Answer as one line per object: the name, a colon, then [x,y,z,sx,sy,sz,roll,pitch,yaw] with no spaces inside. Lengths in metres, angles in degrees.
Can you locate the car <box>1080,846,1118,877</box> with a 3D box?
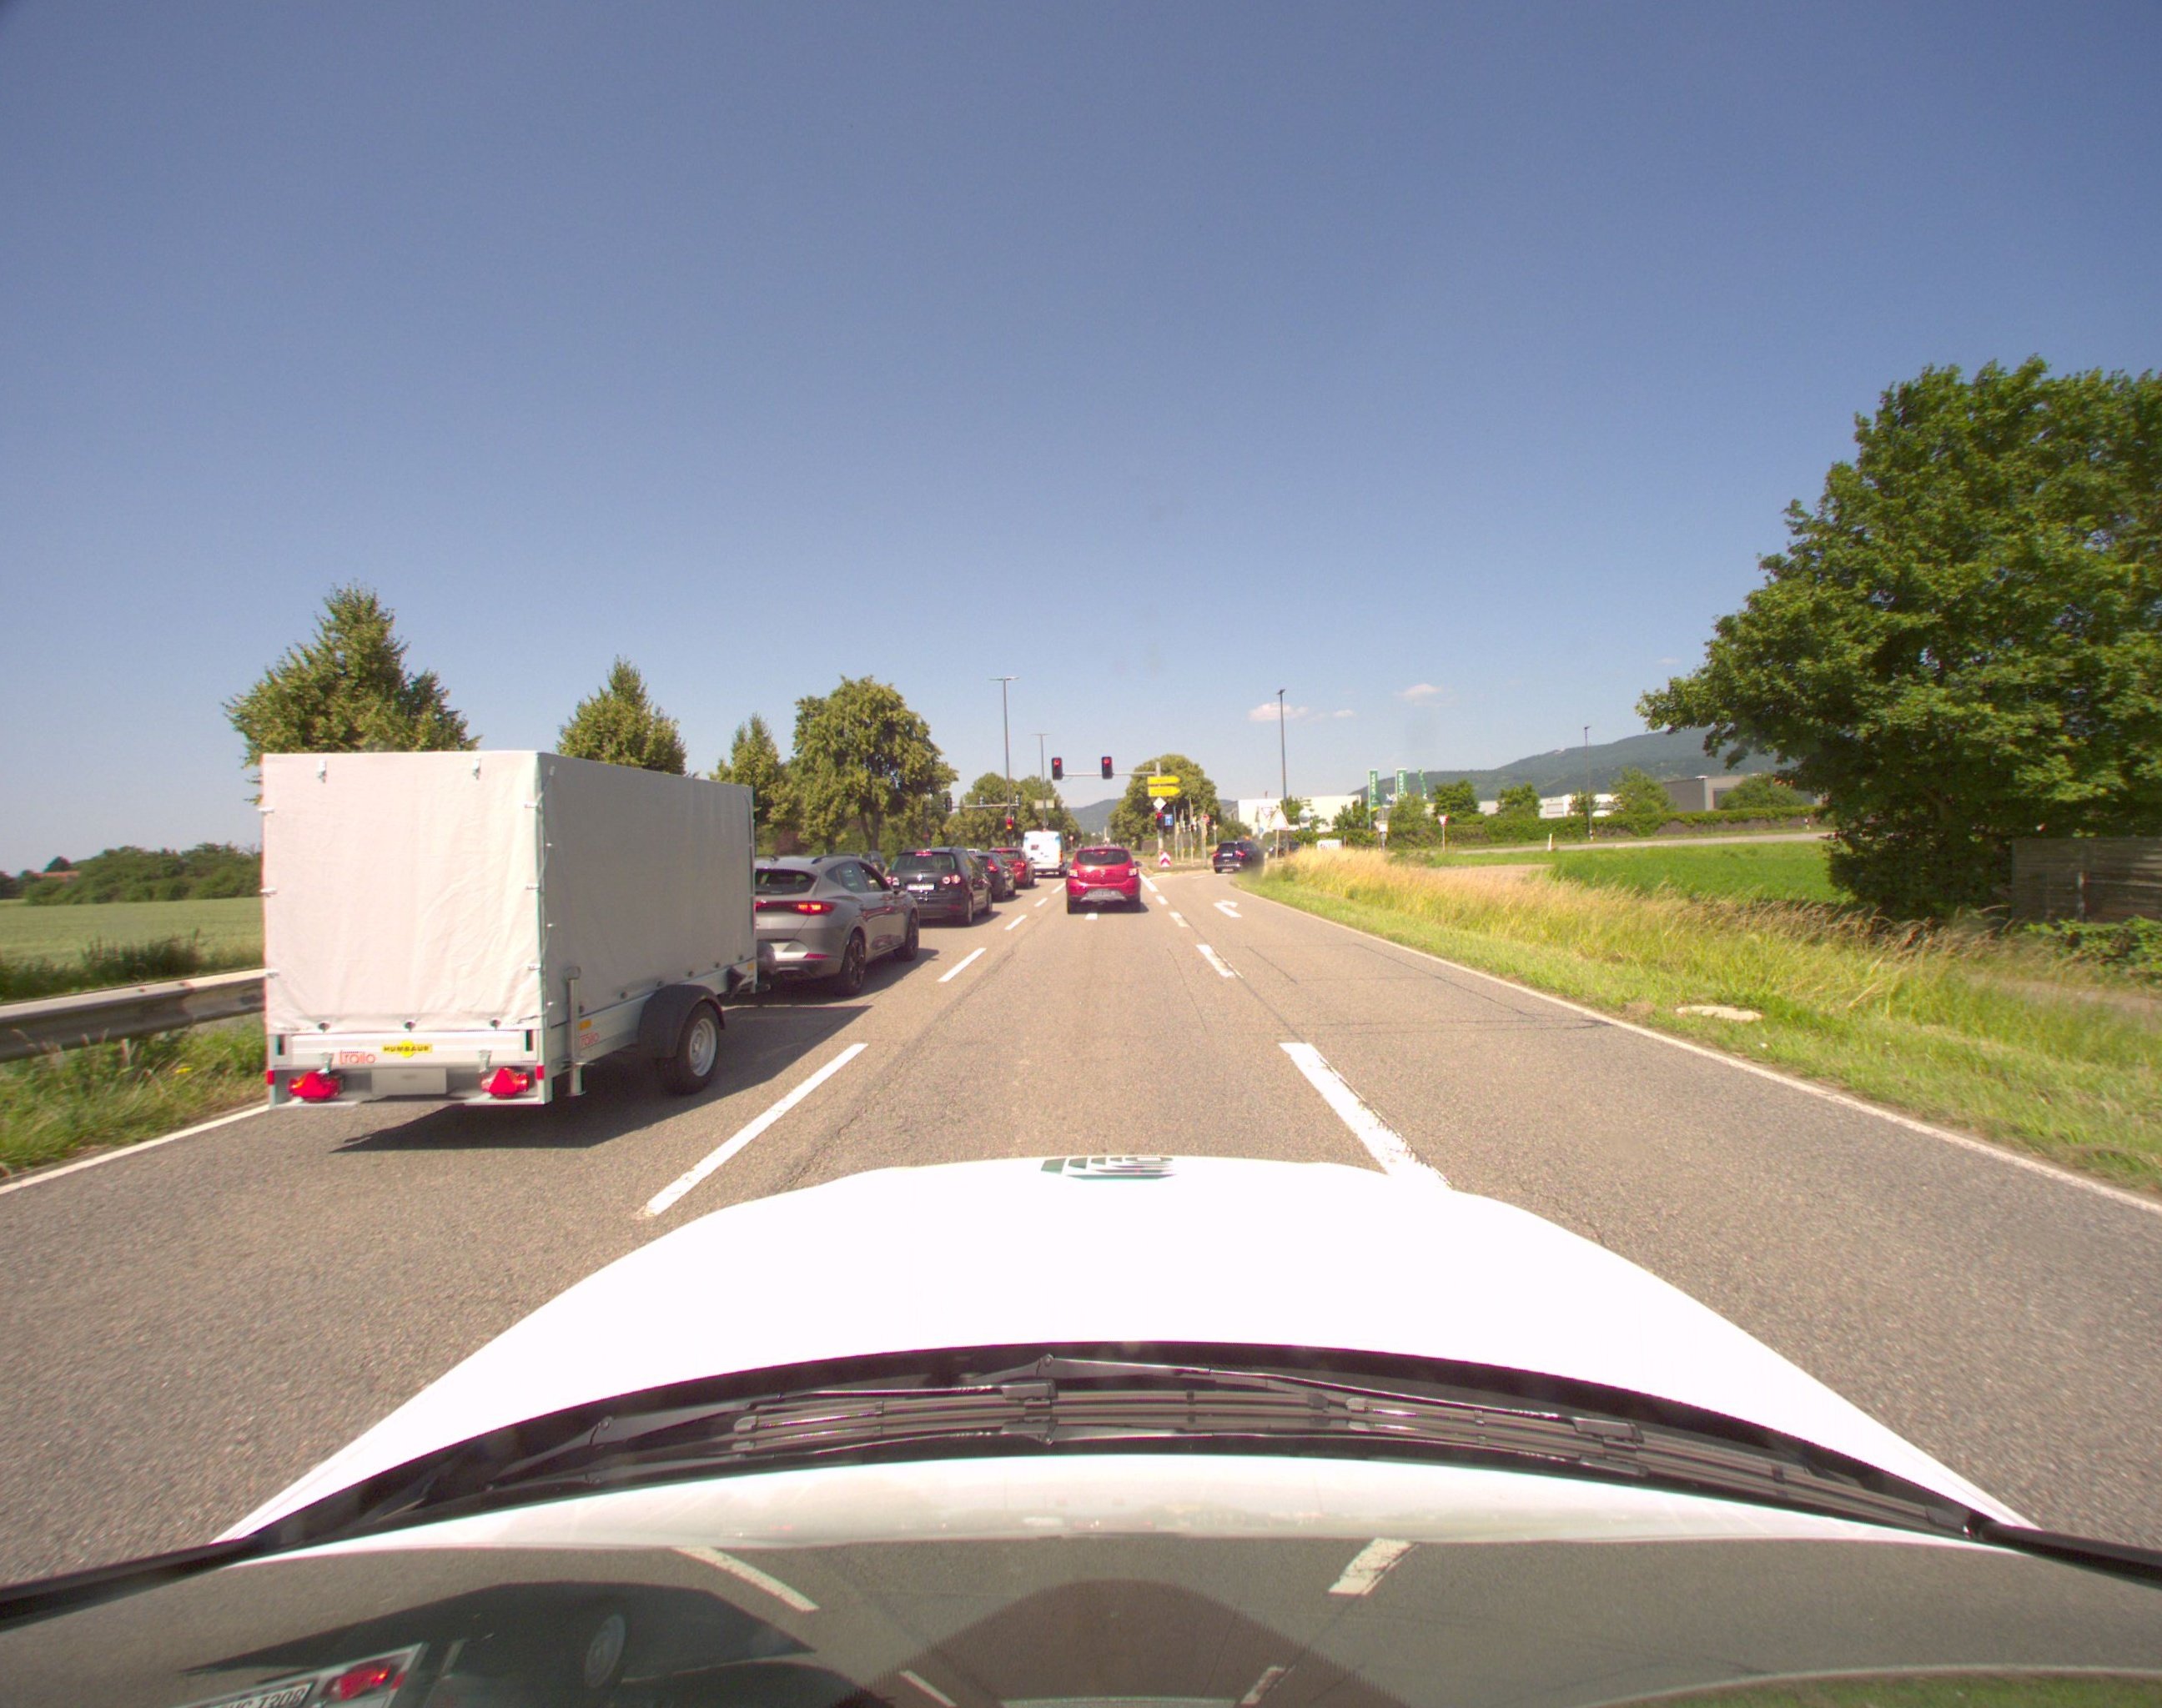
car: [0.969,0.361,41.566,1.742,1.458,3.680,-1,1,3]

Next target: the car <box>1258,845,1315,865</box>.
car: [15.316,0.049,60.810,3.964,1.327,1.811,-2,1,8]

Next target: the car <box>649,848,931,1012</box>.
car: [-3.192,0.720,10.003,1.739,1.503,4.365,-2,1,2]

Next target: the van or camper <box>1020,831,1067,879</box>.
van or camper: [-1.872,0.039,41.725,2.172,2.302,4.825,-1,0,0]

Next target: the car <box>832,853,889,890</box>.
car: [-12.461,0.957,46.300,1.851,1.855,4.697,-2,1,1]

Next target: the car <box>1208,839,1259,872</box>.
car: [8.016,0.050,42.591,1.977,1.616,4.360,-1,0,19]

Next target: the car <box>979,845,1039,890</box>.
car: [-2.685,0.470,31.222,1.717,1.600,3.958,-1,0,3]

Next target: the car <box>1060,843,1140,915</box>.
car: [0.536,0.538,19.985,1.742,1.575,3.680,-1,0,3]

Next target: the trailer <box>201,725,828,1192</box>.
trailer: [-3.325,0.479,5.928,1.495,2.173,4.176,-1,0,2]

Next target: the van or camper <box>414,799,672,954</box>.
van or camper: [-12.507,0.429,19.622,2.255,3.099,5.696,-2,1,1]

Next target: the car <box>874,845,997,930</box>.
car: [-2.960,0.614,17.397,1.716,1.575,3.895,-1,1,3]

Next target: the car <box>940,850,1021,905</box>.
car: [-2.885,0.629,24.155,1.695,1.442,3.958,0,1,2]

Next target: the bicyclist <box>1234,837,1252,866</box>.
bicyclist: [10.172,-0.147,51.118,0.801,1.771,0.807,-2,0,-6]
